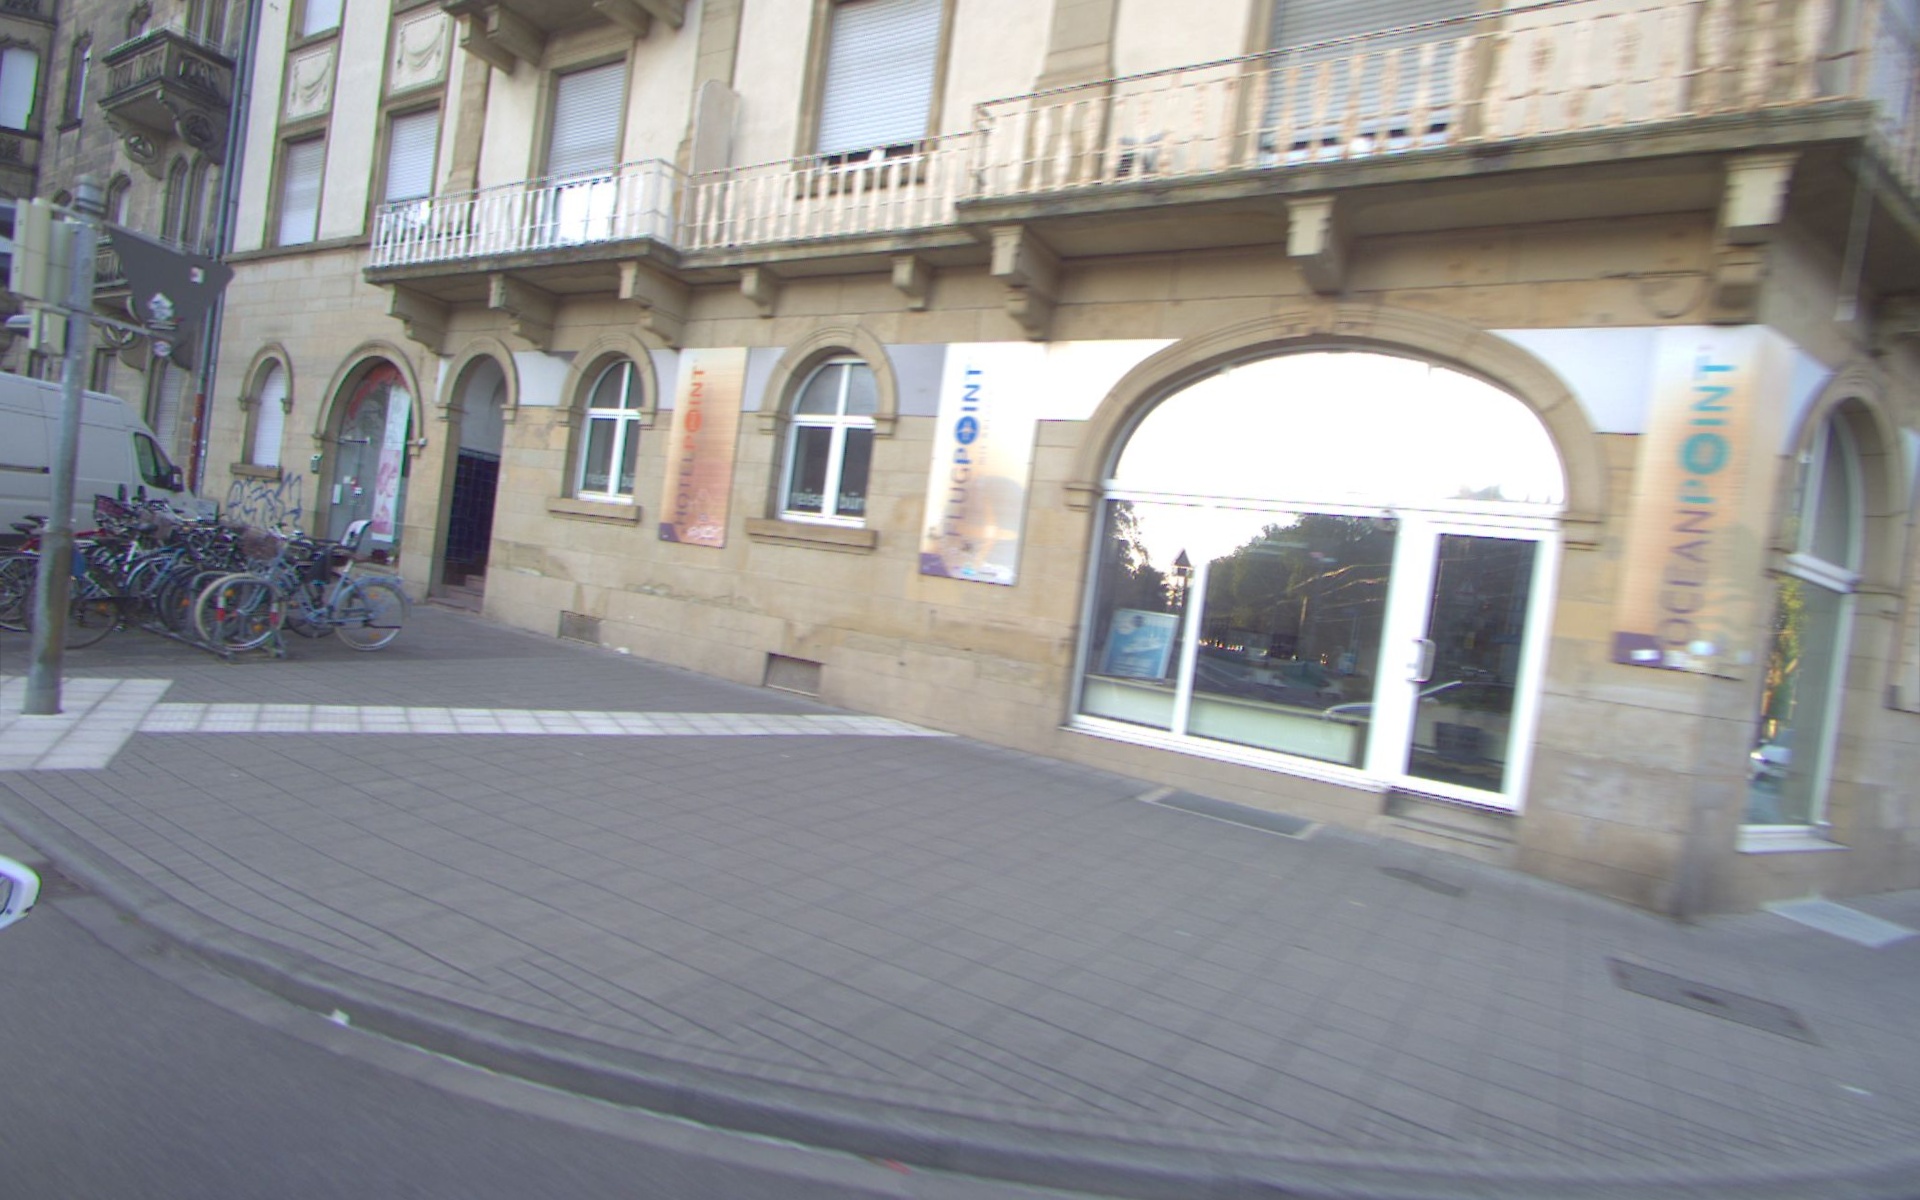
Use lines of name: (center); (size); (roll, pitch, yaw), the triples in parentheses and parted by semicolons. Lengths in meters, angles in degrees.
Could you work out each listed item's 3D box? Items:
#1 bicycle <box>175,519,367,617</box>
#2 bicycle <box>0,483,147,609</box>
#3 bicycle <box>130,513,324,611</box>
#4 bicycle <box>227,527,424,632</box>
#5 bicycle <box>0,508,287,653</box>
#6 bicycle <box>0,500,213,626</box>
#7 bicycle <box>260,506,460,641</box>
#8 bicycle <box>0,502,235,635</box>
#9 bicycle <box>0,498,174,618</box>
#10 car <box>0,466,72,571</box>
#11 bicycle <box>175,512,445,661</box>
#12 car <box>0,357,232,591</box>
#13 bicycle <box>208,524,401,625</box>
bicycle: (-8.040, -0.345, 11.823); (0.532, 1.023, 1.774); (8, 3, 27)
bicycle: (-9.562, -0.547, 10.195); (0.532, 1.221, 1.999); (8, 3, 23)
bicycle: (-8.675, -0.419, 11.990); (0.532, 1.023, 1.774); (8, 3, 27)
bicycle: (-6.974, -0.201, 11.156); (0.532, 1.023, 1.774); (8, 3, 27)
bicycle: (-7.200, -0.158, 8.944); (0.532, 1.102, 1.999); (8, 3, 23)
bicycle: (-8.525, -0.344, 9.759); (0.532, 1.102, 1.999); (8, 3, 23)
bicycle: (-6.409, -0.255, 10.844); (0.532, 1.291, 1.774); (8, 3, 27)
bicycle: (-8.012, -0.277, 9.372); (0.532, 1.102, 1.999); (8, 3, 23)
bicycle: (-9.072, -0.409, 9.944); (0.532, 1.102, 1.999); (8, 3, 23)
car: (-14.443, -1.233, 13.224); (1.965, 1.472, 4.248); (6, 1, -6)
bicycle: (-6.049, -0.097, 9.491); (0.635, 1.217, 1.996); (8, 3, 32)
car: (-11.925, -1.531, 12.408); (2.158, 2.585, 5.873); (5, 1, -8)
bicycle: (-7.463, -0.267, 11.546); (0.532, 1.023, 1.774); (8, 3, 27)
